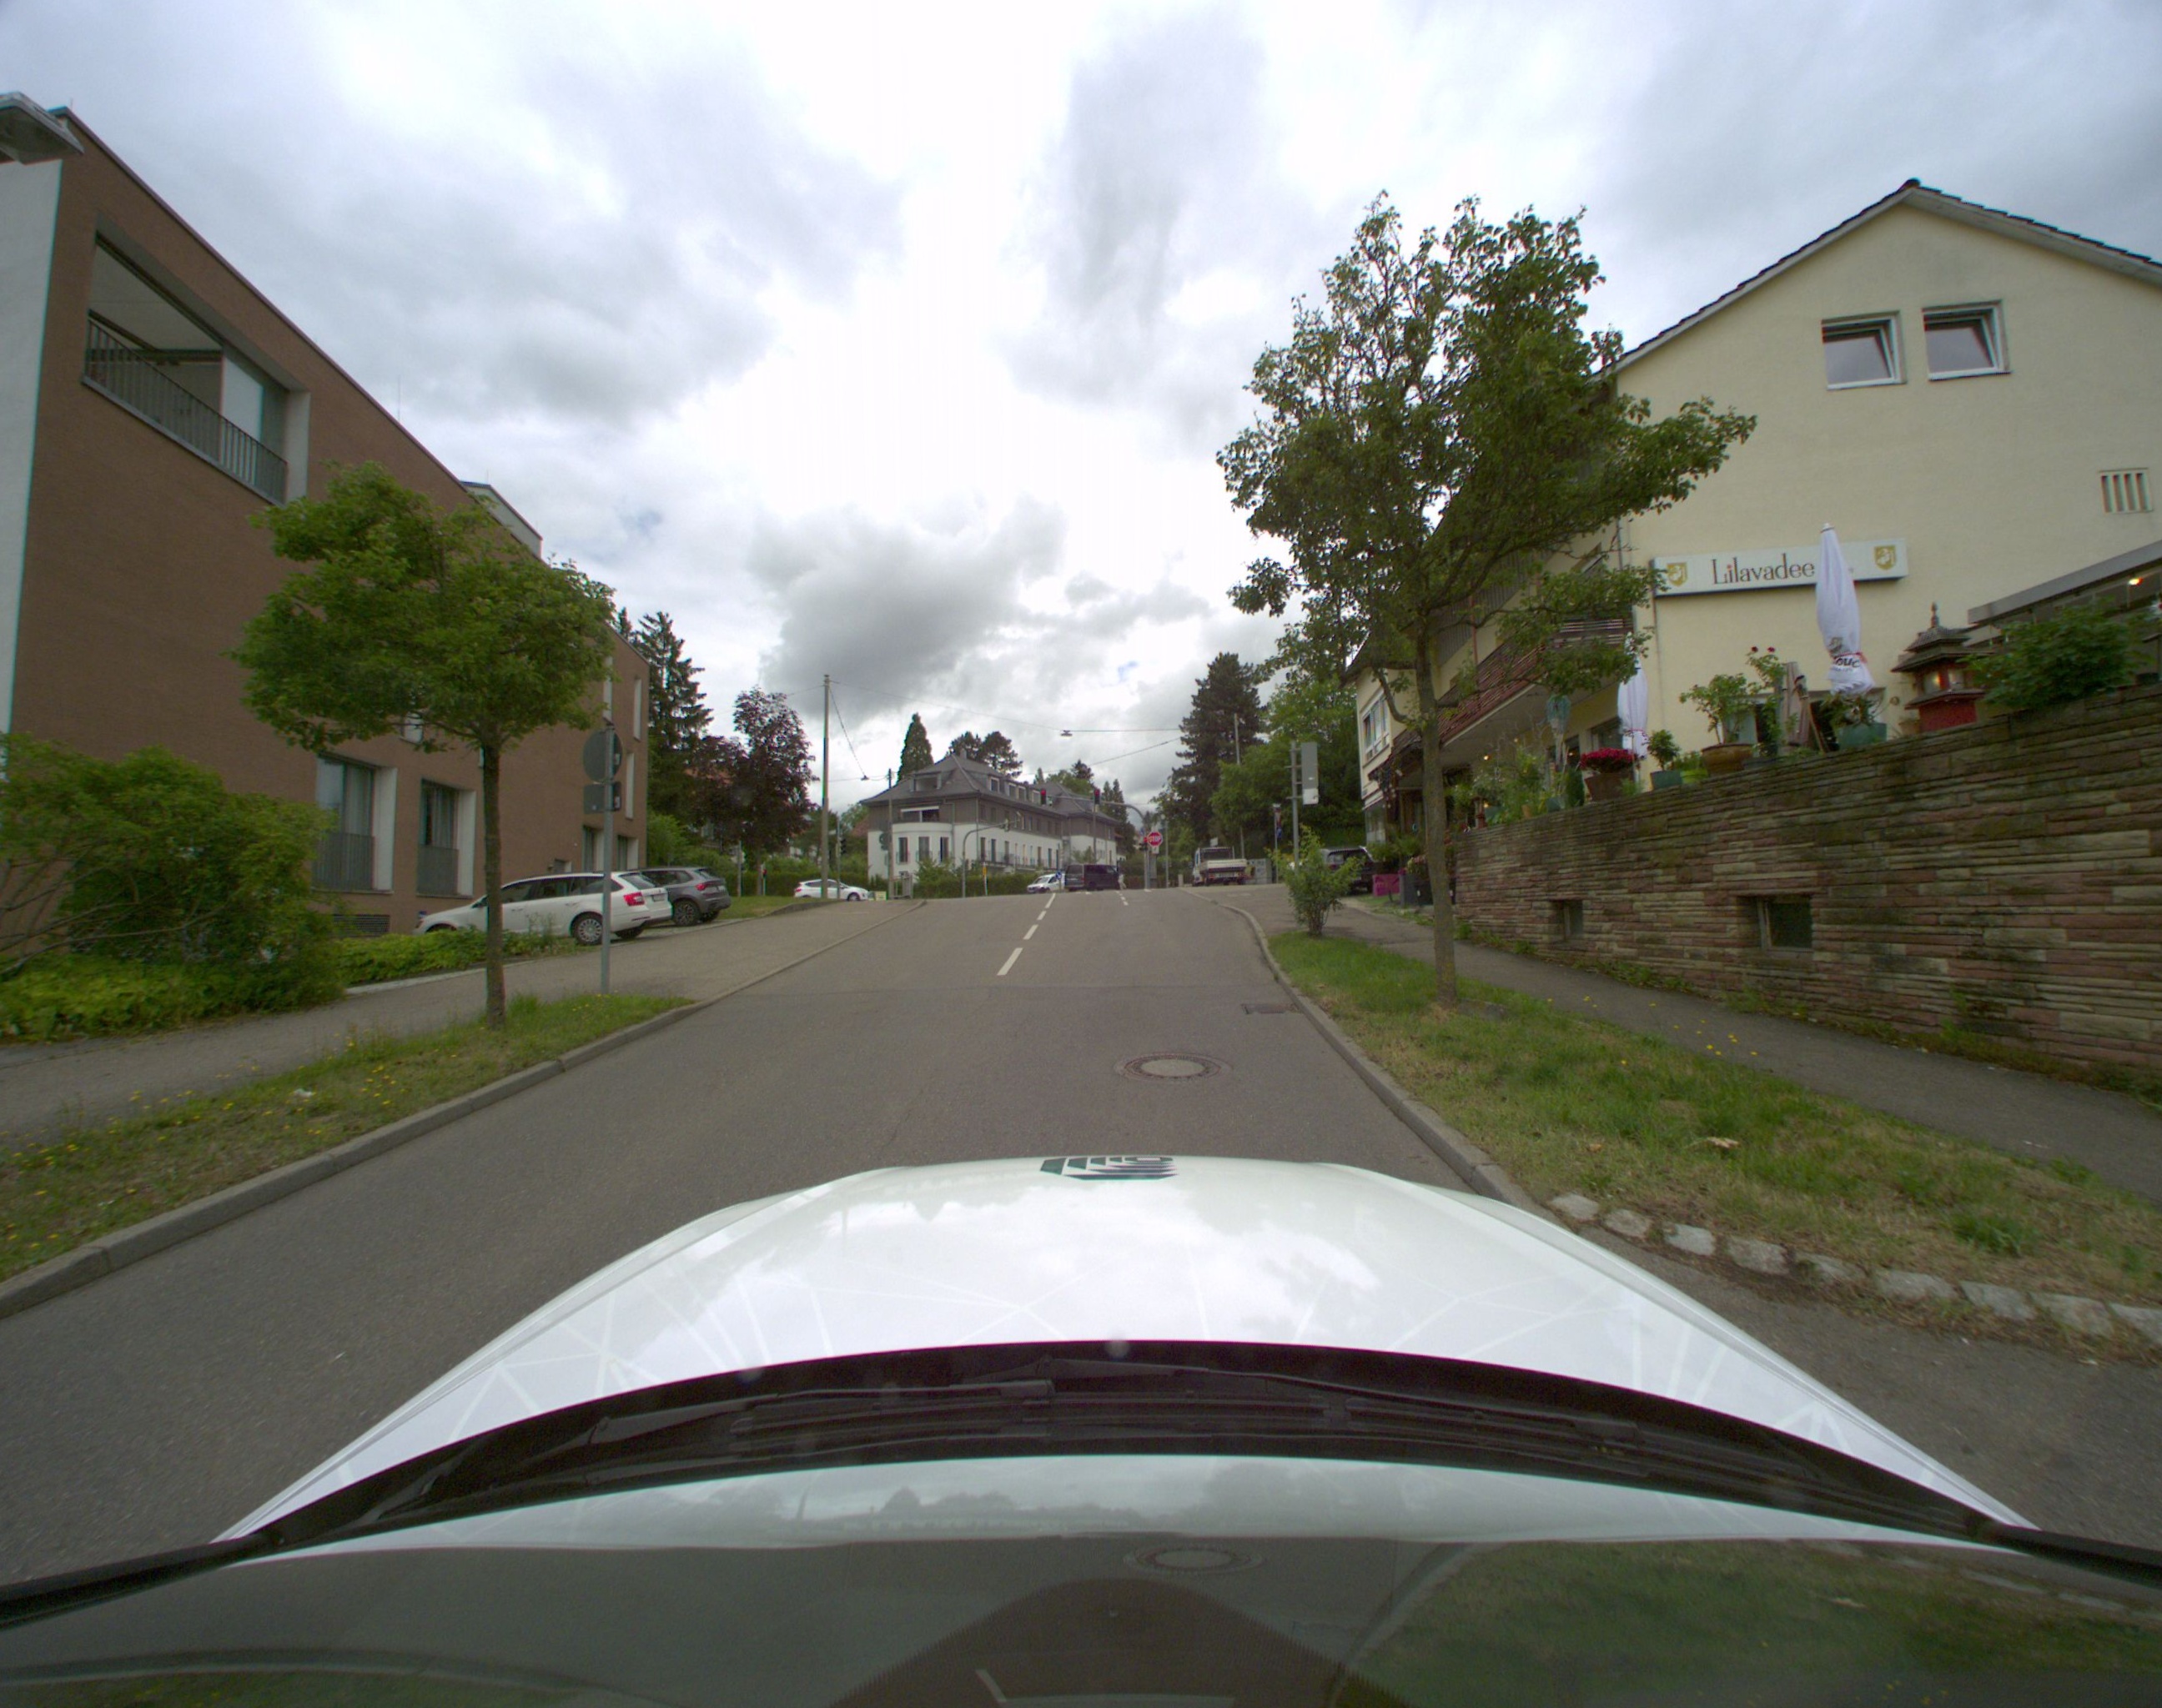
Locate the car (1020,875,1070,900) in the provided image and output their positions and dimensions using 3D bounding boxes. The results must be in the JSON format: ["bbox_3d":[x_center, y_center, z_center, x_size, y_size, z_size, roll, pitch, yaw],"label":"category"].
[{"bbox_3d":[-2.914,2.734,66.843,1.974,1.857,4.381,-1,0,31],"label":"car"}]

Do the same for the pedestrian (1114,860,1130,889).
[{"bbox_3d":[2.374,1.187,47.250,0.700,1.682,0.681,-2,0,-20],"label":"pedestrian"}]

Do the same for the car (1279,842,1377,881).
[{"bbox_3d":[11.742,0.386,38.743,4.203,1.594,1.998,-3,-4,22],"label":"car"}]

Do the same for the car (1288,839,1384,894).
[{"bbox_3d":[8.012,0.393,26.001,1.840,1.472,4.390,-4,-1,4],"label":"car"}]

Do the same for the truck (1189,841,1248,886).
[{"bbox_3d":[7.590,0.621,45.582,2.177,2.195,5.877,-2,-3,-1],"label":"truck"}]

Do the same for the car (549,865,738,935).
[{"bbox_3d":[-11.026,1.128,20.757,3.756,1.464,1.728,-3,1,-7],"label":"car"}]

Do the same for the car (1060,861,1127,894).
[{"bbox_3d":[0.894,1.620,56.050,1.975,2.013,4.537,-2,0,43],"label":"car"}]

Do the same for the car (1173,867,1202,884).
[{"bbox_3d":[10.777,2.128,82.185,2.137,1.491,4.734,-2,0,17],"label":"car"}]

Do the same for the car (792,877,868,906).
[{"bbox_3d":[-14.047,2.065,45.562,4.000,1.383,1.924,-1,0,-20],"label":"car"}]

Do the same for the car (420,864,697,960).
[{"bbox_3d":[-10.536,1.133,16.720,4.251,1.623,2.011,-3,-1,-4],"label":"car"}]
